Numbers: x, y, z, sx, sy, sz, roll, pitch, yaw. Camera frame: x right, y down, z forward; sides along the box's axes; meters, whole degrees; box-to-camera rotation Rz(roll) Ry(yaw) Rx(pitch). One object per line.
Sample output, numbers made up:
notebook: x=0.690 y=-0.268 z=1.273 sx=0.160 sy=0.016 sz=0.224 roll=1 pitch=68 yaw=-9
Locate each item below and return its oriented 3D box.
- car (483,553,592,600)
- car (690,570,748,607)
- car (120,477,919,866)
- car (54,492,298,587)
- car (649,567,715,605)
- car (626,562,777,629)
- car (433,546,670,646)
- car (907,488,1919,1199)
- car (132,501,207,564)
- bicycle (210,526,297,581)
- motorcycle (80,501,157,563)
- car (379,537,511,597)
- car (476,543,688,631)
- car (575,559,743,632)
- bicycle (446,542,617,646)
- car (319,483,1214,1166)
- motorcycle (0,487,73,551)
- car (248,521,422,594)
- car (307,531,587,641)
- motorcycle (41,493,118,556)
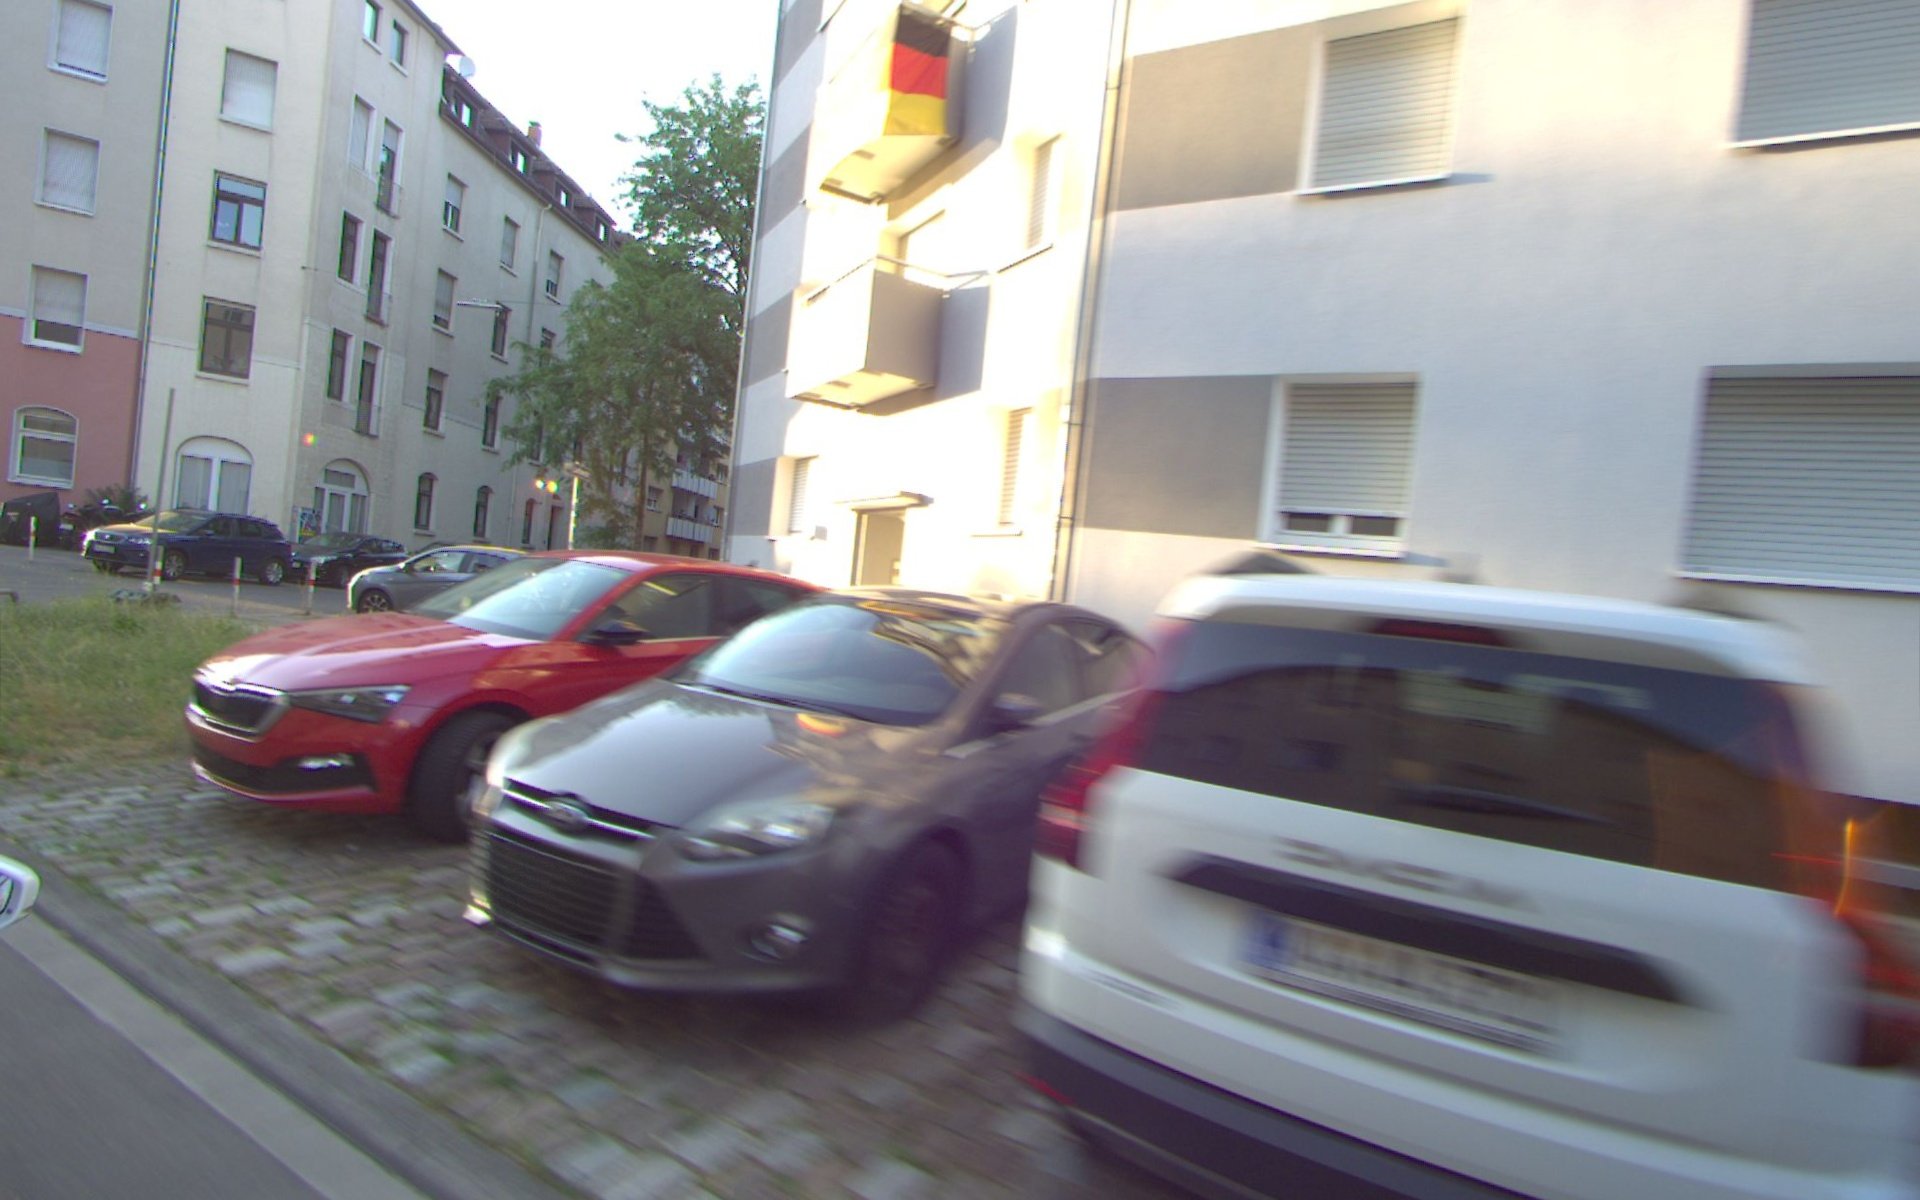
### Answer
car: x=-15.680 y=-0.845 z=37.572 sx=2.055 sy=1.371 sz=4.001 roll=6 pitch=-1 yaw=4
car: x=-13.787 y=-0.616 z=57.726 sx=1.962 sy=1.805 sz=4.001 roll=6 pitch=0 yaw=4
car: x=-2.322 y=0.382 z=6.483 sx=1.892 sy=1.560 sz=4.304 roll=7 pitch=0 yaw=32
car: x=-17.107 y=-1.246 z=22.239 sx=1.795 sy=1.592 sz=4.002 roll=7 pitch=0 yaw=9
car: x=-14.484 y=-0.697 z=52.620 sx=1.962 sy=1.604 sz=4.001 roll=6 pitch=0 yaw=4
car: x=-7.832 y=-0.117 z=30.741 sx=3.924 sy=1.549 sz=2.000 roll=7 pitch=0 yaw=3
car: x=-8.224 y=-0.077 z=20.457 sx=3.924 sy=1.504 sz=1.848 roll=7 pitch=0 yaw=5
car: x=1.672 y=0.785 z=3.546 sx=1.754 sy=1.649 sz=3.994 roll=7 pitch=0 yaw=29
car: x=-20.762 y=-1.742 z=26.488 sx=0.835 sy=1.474 sz=2.760 roll=6 pitch=0 yaw=-25
bicycle: x=-19.795 y=-1.293 z=28.235 sx=1.885 sy=1.297 sz=0.679 roll=7 pitch=0 yaw=-33
motorcycle: x=-21.793 y=-1.727 z=26.115 sx=0.735 sy=1.452 sz=2.637 roll=6 pitch=0 yaw=-24
car: x=-16.184 y=-0.987 z=31.855 sx=1.936 sy=1.524 sz=4.000 roll=7 pitch=0 yaw=1
car: x=-8.546 y=-0.278 z=22.967 sx=3.924 sy=1.482 sz=2.001 roll=7 pitch=0 yaw=5
car: x=-8.334 y=-0.098 z=28.139 sx=3.924 sy=1.535 sz=2.000 roll=7 pitch=0 yaw=4
bicycle: x=-7.024 y=-0.093 z=16.532 sx=2.457 sy=1.400 sz=0.516 roll=7 pitch=0 yaw=2
car: x=-0.368 y=0.649 z=4.806 sx=1.966 sy=1.682 sz=3.993 roll=7 pitch=0 yaw=29
motorcycle: x=-23.308 y=-2.003 z=25.216 sx=0.828 sy=1.452 sz=2.339 roll=6 pitch=0 yaw=-24
car: x=-16.660 y=-1.073 z=27.071 sx=1.933 sy=1.524 sz=4.000 roll=7 pitch=0 yaw=2
car: x=-9.115 y=-0.230 z=18.105 sx=3.924 sy=1.438 sz=2.001 roll=7 pitch=0 yaw=5
motorcycle: x=-22.536 y=-1.909 z=25.801 sx=0.735 sy=1.452 sz=2.339 roll=6 pitch=0 yaw=-24
